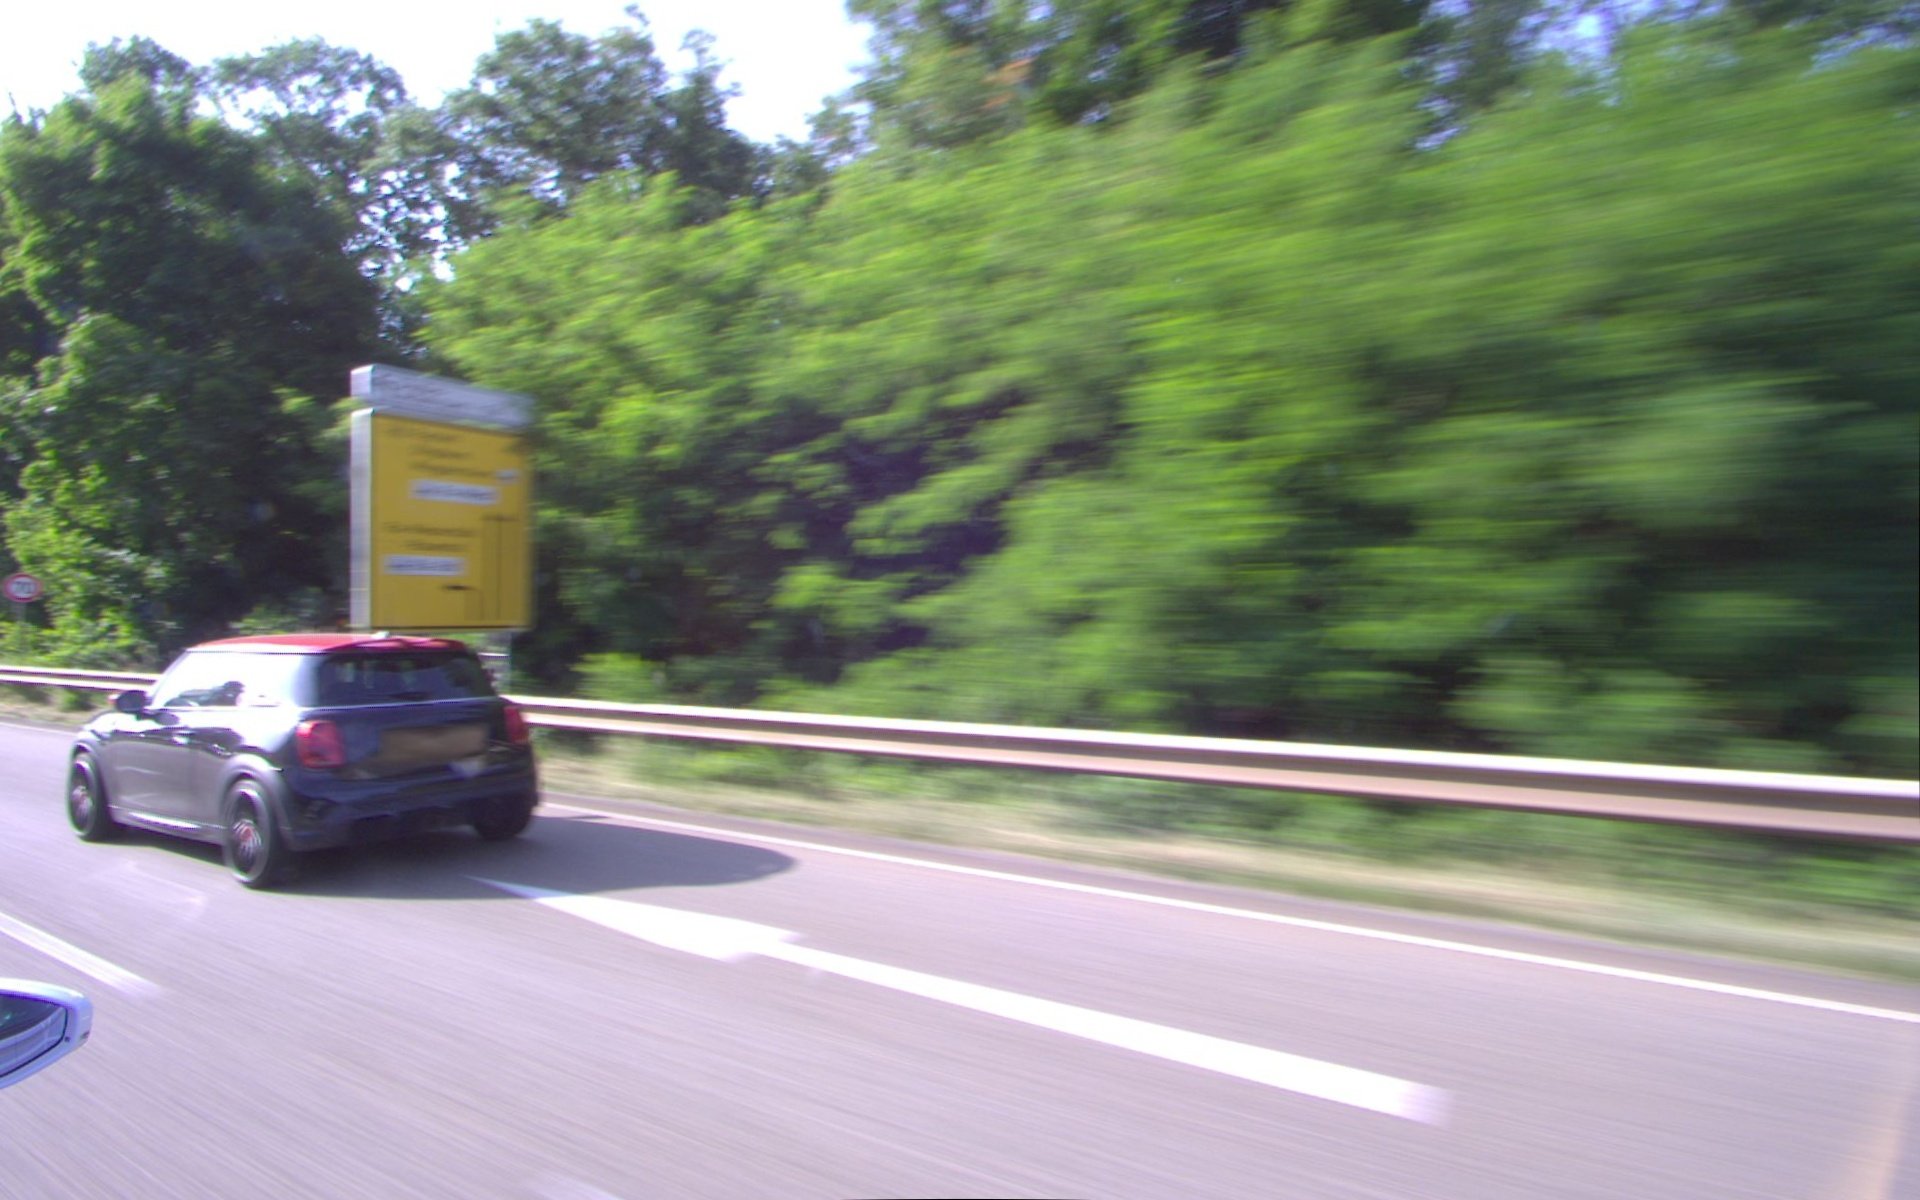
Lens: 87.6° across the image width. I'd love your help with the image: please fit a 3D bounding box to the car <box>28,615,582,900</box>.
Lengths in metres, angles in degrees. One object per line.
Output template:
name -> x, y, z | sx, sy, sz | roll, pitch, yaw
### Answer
car -> -4.685, 0.891, 7.073 | 3.817, 1.486, 1.817 | 0, -3, 32
